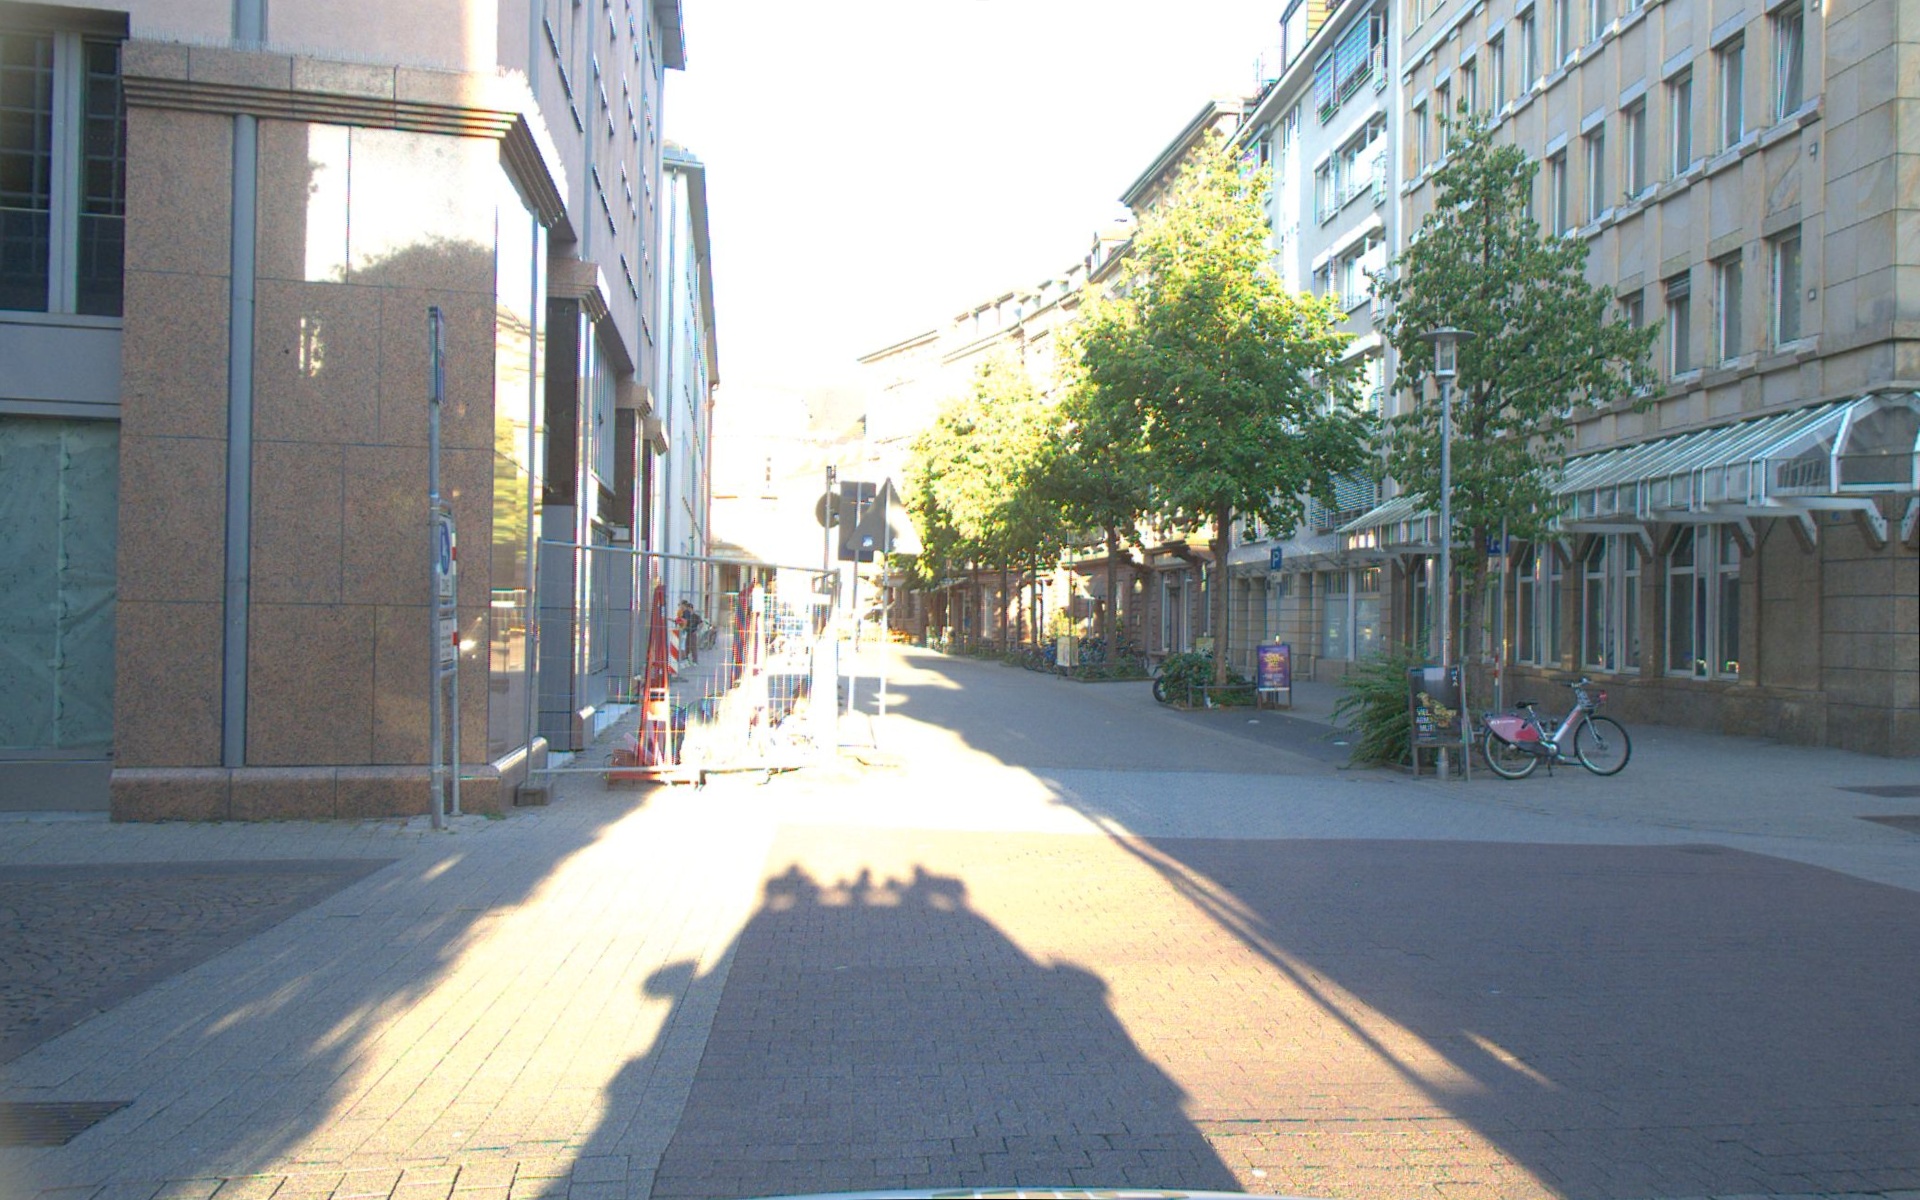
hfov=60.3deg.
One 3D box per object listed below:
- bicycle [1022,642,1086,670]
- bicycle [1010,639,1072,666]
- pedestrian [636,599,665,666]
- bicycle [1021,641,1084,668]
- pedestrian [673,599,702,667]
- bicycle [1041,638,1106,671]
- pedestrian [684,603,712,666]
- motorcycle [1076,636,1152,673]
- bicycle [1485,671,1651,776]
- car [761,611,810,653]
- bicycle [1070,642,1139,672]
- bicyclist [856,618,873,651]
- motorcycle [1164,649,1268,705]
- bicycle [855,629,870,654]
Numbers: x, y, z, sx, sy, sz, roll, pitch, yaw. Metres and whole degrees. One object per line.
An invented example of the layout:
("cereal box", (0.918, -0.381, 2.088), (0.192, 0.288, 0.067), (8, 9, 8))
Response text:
("bicycle", (3.206, 1.898, 56.285), (2.115, 0.942, 0.589), (0, -2, -13))
("bicycle", (2.857, 1.842, 58.433), (2.115, 0.942, 0.589), (0, -2, -13))
("pedestrian", (-8.216, 0.852, 43.868), (0.641, 1.756, 0.634), (0, -1, -1))
("bicycle", (3.205, 1.896, 57.462), (2.115, 0.942, 0.589), (0, -2, -13))
("pedestrian", (-7.252, 0.877, 44.058), (0.641, 1.795, 0.634), (0, -1, -1))
("bicycle", (3.723, 1.783, 54.210), (2.107, 1.080, 0.591), (0, -2, 9))
("pedestrian", (-7.065, 0.939, 44.676), (0.641, 1.680, 0.634), (0, -1, -1))
("motorcycle", (4.783, 1.681, 51.227), (2.442, 1.114, 0.585), (1, -2, -28))
("bicycle", (6.763, 1.372, 18.464), (1.620, 1.069, 0.663), (-3, 0, 13))
("car", (-7.369, 1.354, 69.765), (1.808, 1.713, 3.636), (0, -1, -10))
("bicycle", (4.564, 1.808, 52.294), (2.121, 0.942, 0.587), (1, -2, -21))
("bicyclist", (-4.311, 1.545, 74.643), (0.708, 1.494, 0.716), (0, -1, -7))
("motorcycle", (5.362, 1.612, 34.693), (2.112, 1.171, 0.493), (0, -2, -8))
("bicycle", (-4.395, 1.865, 74.720), (0.577, 1.114, 2.157), (0, -2, -6))
